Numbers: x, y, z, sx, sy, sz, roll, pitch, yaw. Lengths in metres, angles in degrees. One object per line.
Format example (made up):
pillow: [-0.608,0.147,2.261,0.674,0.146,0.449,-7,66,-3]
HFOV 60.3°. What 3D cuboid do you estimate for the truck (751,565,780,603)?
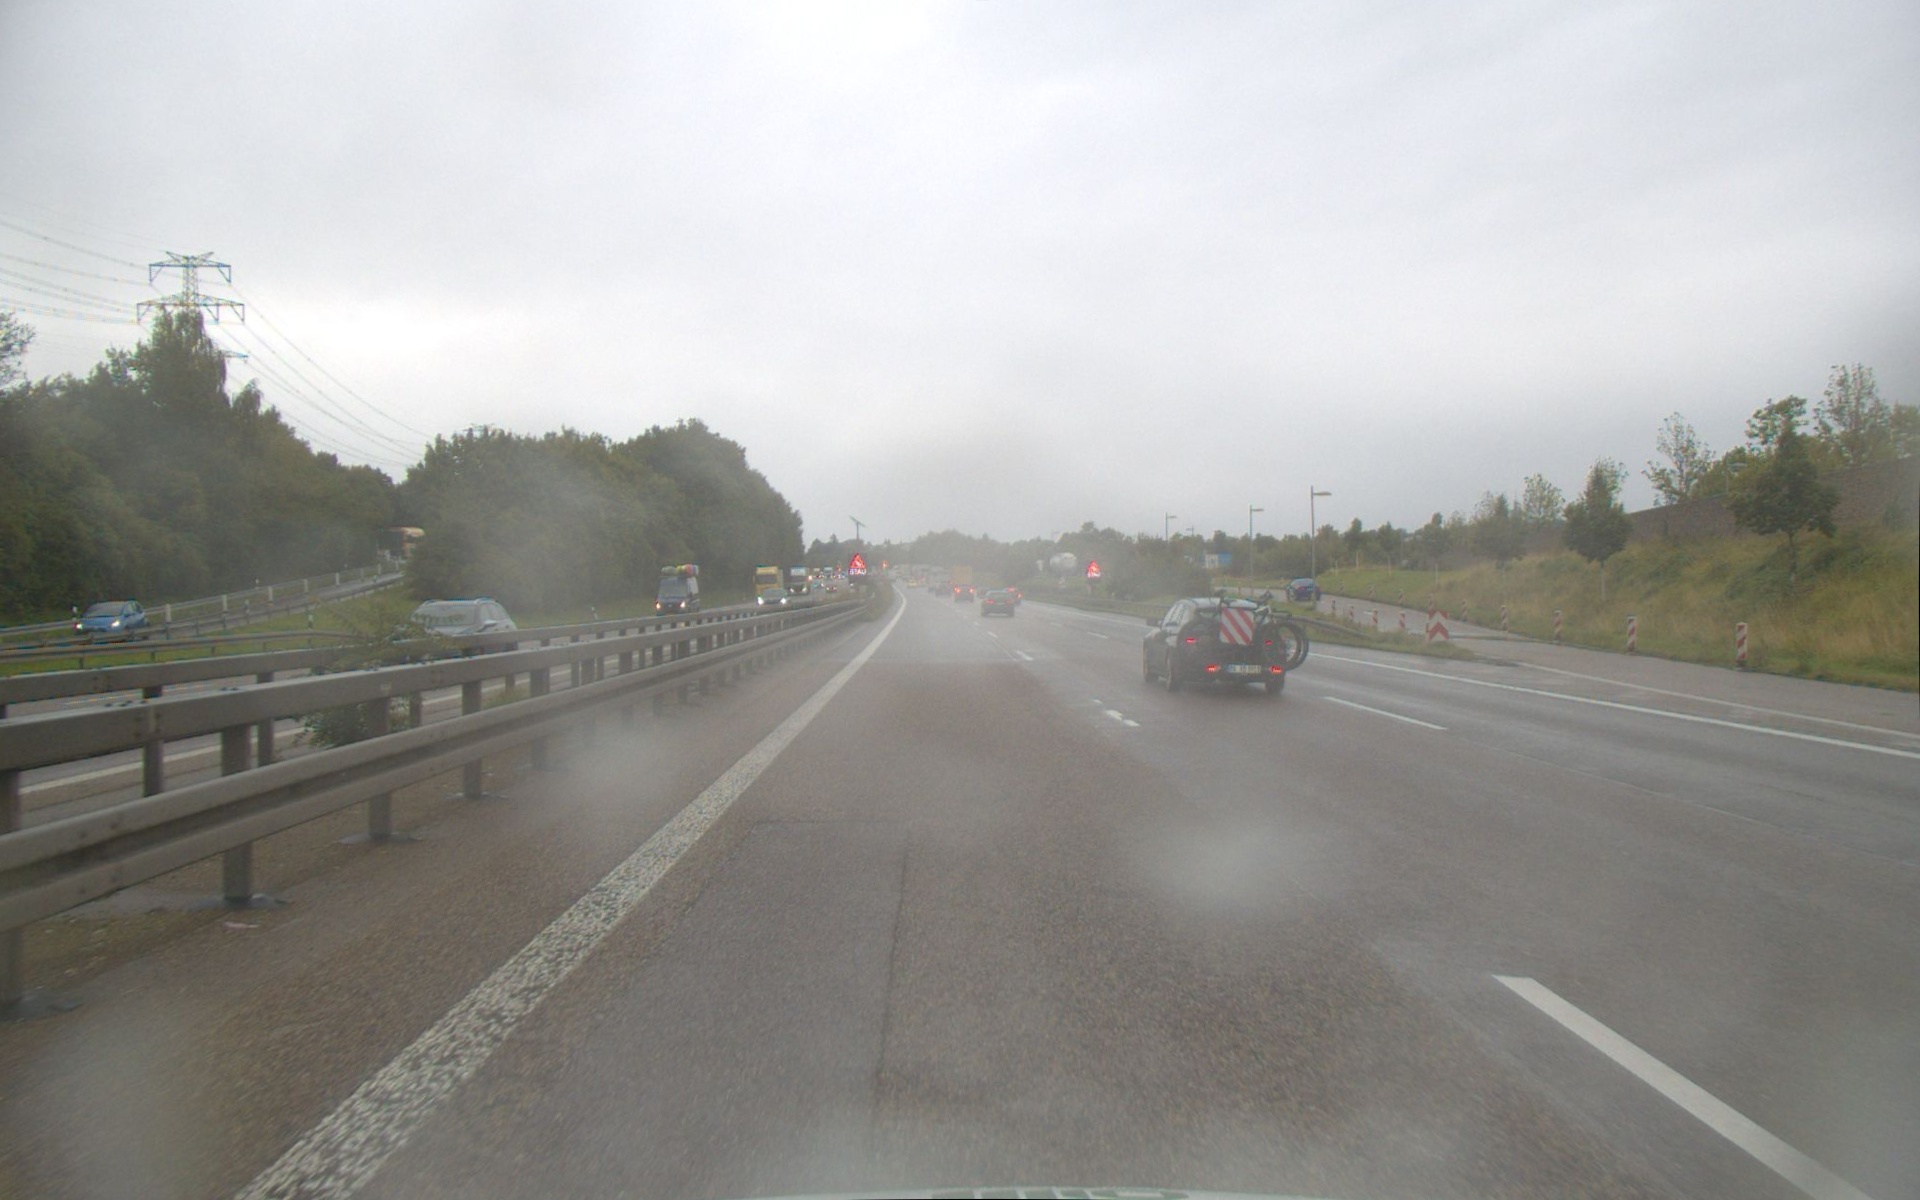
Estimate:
truck: [-22.111,-1.783,188.222,2.706,4.126,6.154,-2,1,-2]

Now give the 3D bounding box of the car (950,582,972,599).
car: [0.082,-0.933,159.981,1.953,1.657,3.998,-1,1,-2]

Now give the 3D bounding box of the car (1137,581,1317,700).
car: [4.145,0.596,26.607,2.015,1.700,5.521,0,0,0]

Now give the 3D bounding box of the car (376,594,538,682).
car: [-9.898,0.690,32.915,1.785,1.538,4.789,-2,0,-1]

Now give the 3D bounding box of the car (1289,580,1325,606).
car: [24.012,-0.495,114.635,1.882,1.739,4.002,-1,0,4]

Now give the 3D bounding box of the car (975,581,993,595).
car: [3.018,-1.543,208.228,1.953,1.657,3.998,-1,1,-2]

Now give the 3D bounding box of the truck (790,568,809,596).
truck: [-24.907,-2.768,257.097,2.590,4.311,3.999,-1,1,-2]

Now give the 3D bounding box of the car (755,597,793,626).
car: [-11.557,0.673,103.103,1.885,1.685,4.789,-2,0,-1]

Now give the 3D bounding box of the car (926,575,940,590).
car: [-4.192,-2.693,257.246,1.953,2.243,3.998,-1,1,-2]

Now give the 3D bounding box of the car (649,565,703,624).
car: [-17.224,-0.342,100.569,2.208,3.385,6.174,-2,0,-1]

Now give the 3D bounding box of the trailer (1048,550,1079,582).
trailer: [14.316,-4.647,229.957,2.925,4.228,12.951,-1,1,-2]

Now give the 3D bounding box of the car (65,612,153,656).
car: [-32.944,1.286,64.161,1.932,1.570,3.990,-1,0,-11]

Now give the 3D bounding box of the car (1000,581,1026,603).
car: [4.571,-0.719,143.200,1.953,1.791,3.998,2,1,-2]

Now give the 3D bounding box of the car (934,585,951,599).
car: [-2.217,-1.044,207.513,1.953,1.657,3.998,-1,1,-2]

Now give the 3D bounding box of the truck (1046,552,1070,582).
truck: [14.056,-4.708,237.170,2.890,4.217,4.921,-1,1,-2]

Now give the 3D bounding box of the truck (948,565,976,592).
truck: [0.238,-3.347,255.346,3.845,4.051,12.235,-1,1,-2]

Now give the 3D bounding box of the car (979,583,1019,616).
car: [2.186,-0.047,93.667,1.953,1.791,3.998,-1,1,-2]
